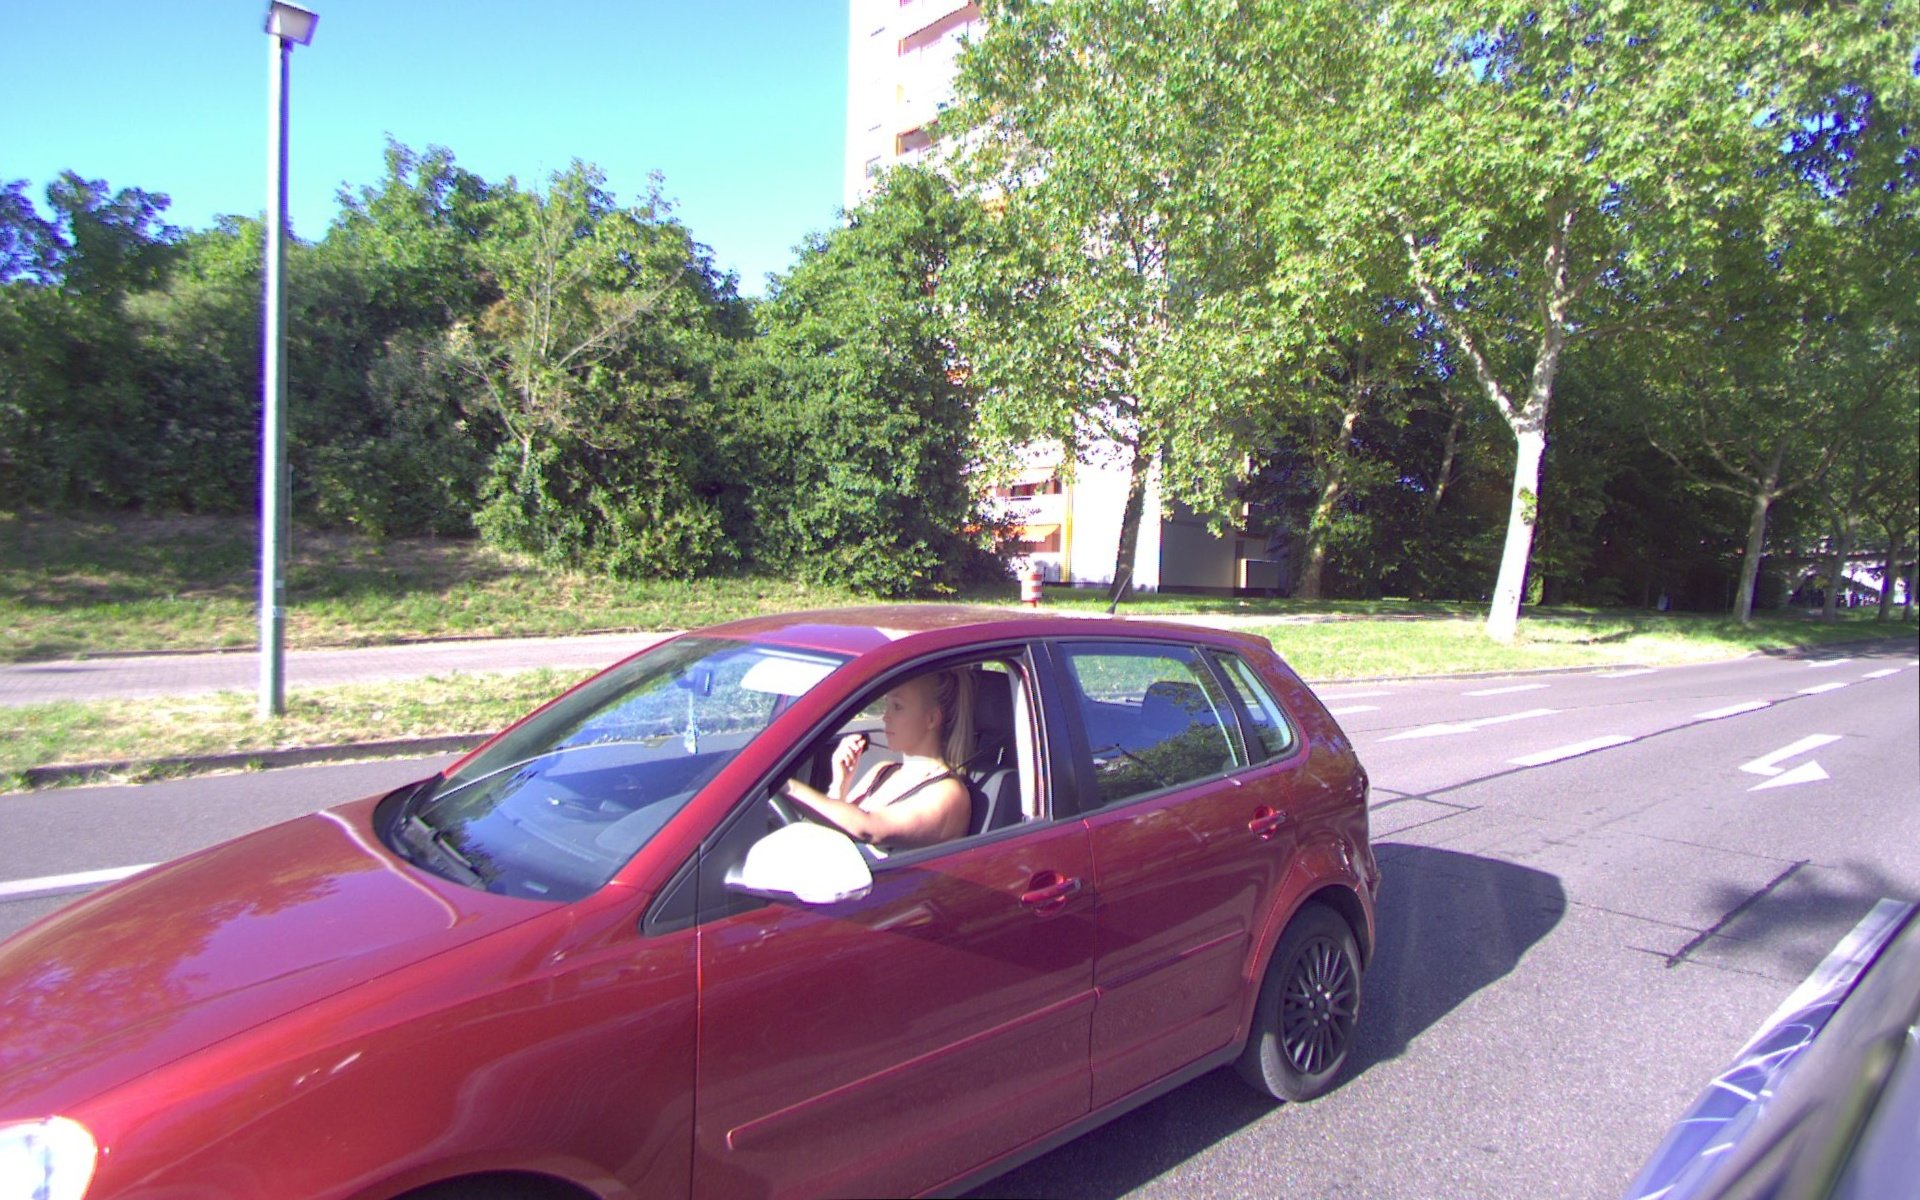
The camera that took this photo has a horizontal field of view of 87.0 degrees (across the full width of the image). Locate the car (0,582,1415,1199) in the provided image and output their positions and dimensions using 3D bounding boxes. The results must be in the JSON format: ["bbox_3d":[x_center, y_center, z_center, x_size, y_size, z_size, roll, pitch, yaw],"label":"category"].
[{"bbox_3d":[-0.458,0.692,2.761,3.627,1.434,1.626,0,1,-39],"label":"car"}]
